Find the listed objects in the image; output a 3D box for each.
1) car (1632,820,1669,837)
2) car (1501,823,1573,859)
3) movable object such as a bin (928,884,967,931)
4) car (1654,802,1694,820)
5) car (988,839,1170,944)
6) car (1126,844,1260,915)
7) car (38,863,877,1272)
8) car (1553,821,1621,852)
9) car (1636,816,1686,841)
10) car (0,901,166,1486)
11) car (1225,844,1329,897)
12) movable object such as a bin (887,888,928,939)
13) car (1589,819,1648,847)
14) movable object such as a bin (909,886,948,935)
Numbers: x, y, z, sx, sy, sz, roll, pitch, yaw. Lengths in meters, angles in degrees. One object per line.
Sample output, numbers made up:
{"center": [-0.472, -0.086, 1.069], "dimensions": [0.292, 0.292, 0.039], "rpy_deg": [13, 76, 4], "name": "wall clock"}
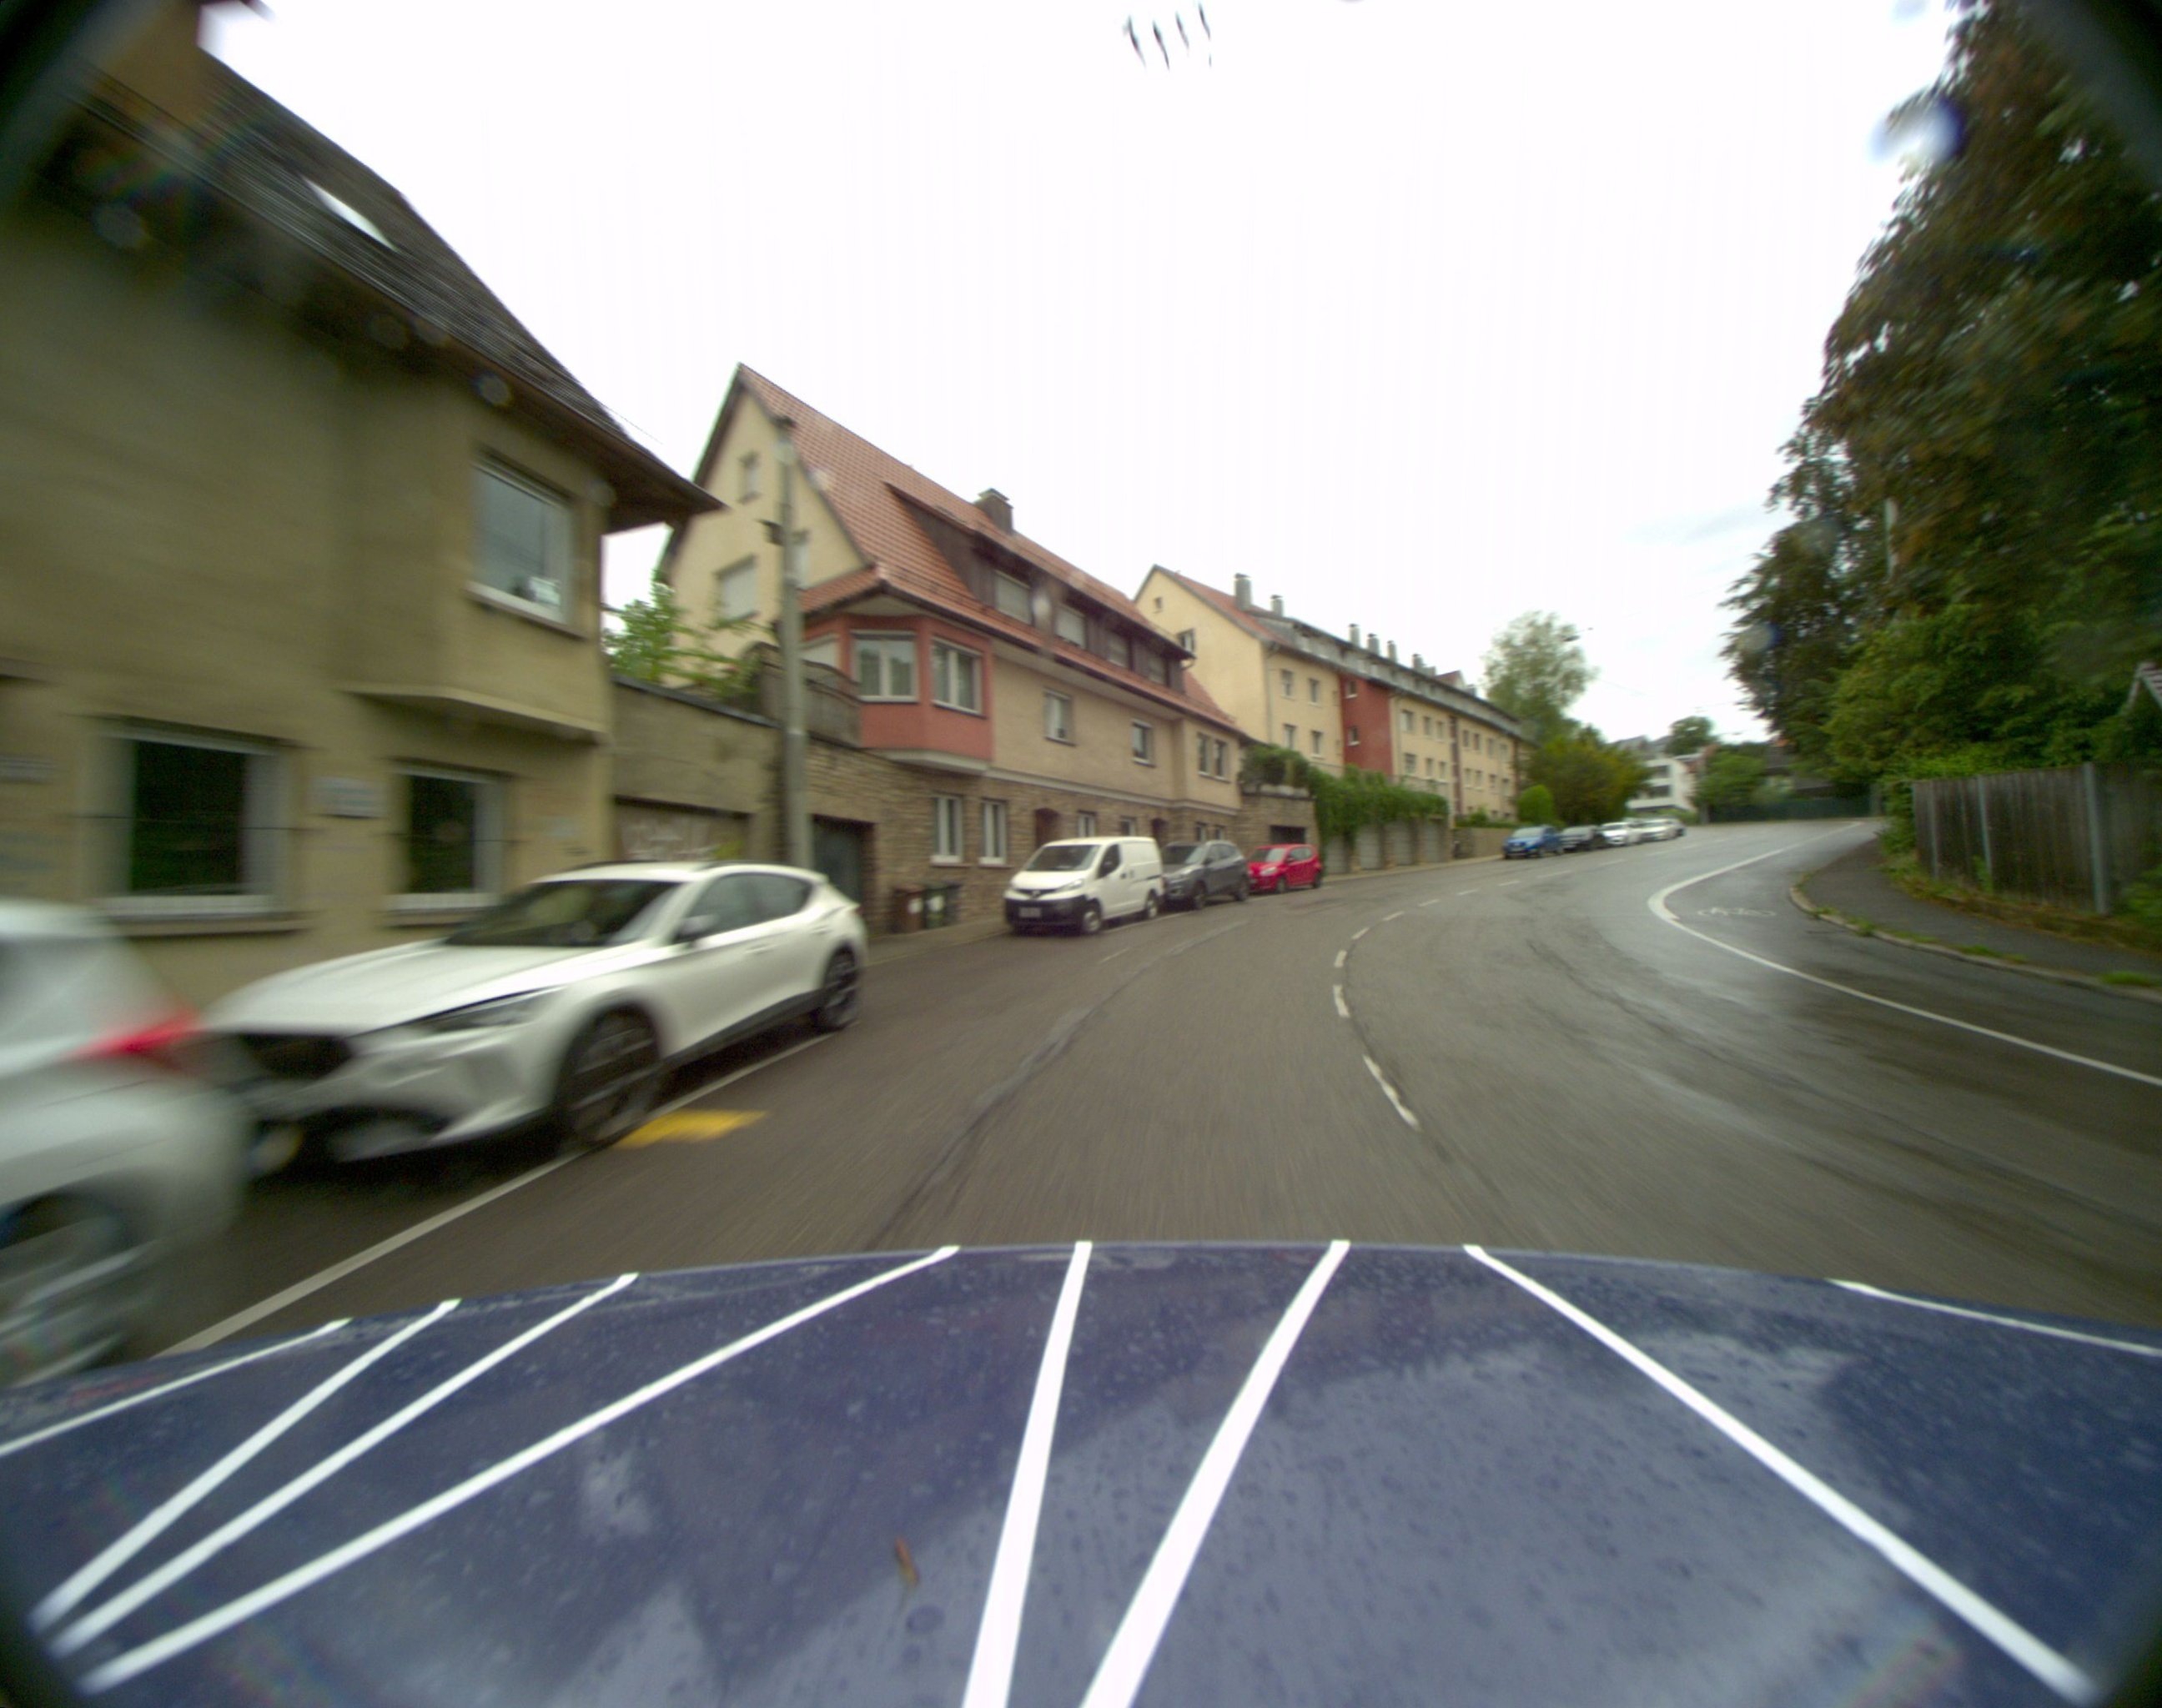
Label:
{"center": [50.311, -2.225, 67.214], "dimensions": [1.683, 1.463, 3.744], "rpy_deg": [0, 1, 22], "name": "car"}
{"center": [22.753, -0.671, 37.865], "dimensions": [4.261, 1.584, 1.735], "rpy_deg": [-3, -1, -40], "name": "car"}
{"center": [-2.750, 1.093, 15.670], "dimensions": [0.580, 0.917, 0.514], "rpy_deg": [1, 2, 35], "name": "movable object such as a bin"}
{"center": [61.185, -4.404, 78.426], "dimensions": [1.652, 1.411, 3.806], "rpy_deg": [-7, -1, 12], "name": "car"}
{"center": [0.134, 0.664, 15.543], "dimensions": [1.707, 1.780, 4.333], "rpy_deg": [-5, -1, 28], "name": "car"}
{"center": [3.045, 0.584, 19.793], "dimensions": [1.616, 1.595, 4.420], "rpy_deg": [-2, 0, 35], "name": "car"}
{"center": [-3.245, 0.891, 5.358], "dimensions": [1.917, 1.529, 4.416], "rpy_deg": [0, 1, 7], "name": "car"}
{"center": [27.725, -0.988, 41.596], "dimensions": [4.261, 1.446, 1.691], "rpy_deg": [-3, -1, -36], "name": "car"}
{"center": [39.580, -1.730, 51.828], "dimensions": [4.577, 1.426, 1.781], "rpy_deg": [-3, -3, -42], "name": "car"}
{"center": [-3.813, 0.900, 0.462], "dimensions": [1.769, 1.506, 3.824], "rpy_deg": [0, 0, 4], "name": "car"}
{"center": [6.262, 0.480, 24.045], "dimensions": [1.616, 1.427, 3.588], "rpy_deg": [-1, 1, 43], "name": "car"}
{"center": [-3.356, 1.144, 14.707], "dimensions": [0.580, 0.917, 0.514], "rpy_deg": [1, 2, 35], "name": "movable object such as a bin"}
{"center": [32.382, -1.296, 45.711], "dimensions": [4.261, 1.446, 1.808], "rpy_deg": [-3, -1, -40], "name": "car"}
{"center": [-3.045, 1.112, 15.173], "dimensions": [0.580, 0.917, 0.514], "rpy_deg": [1, 2, 35], "name": "movable object such as a bin"}
